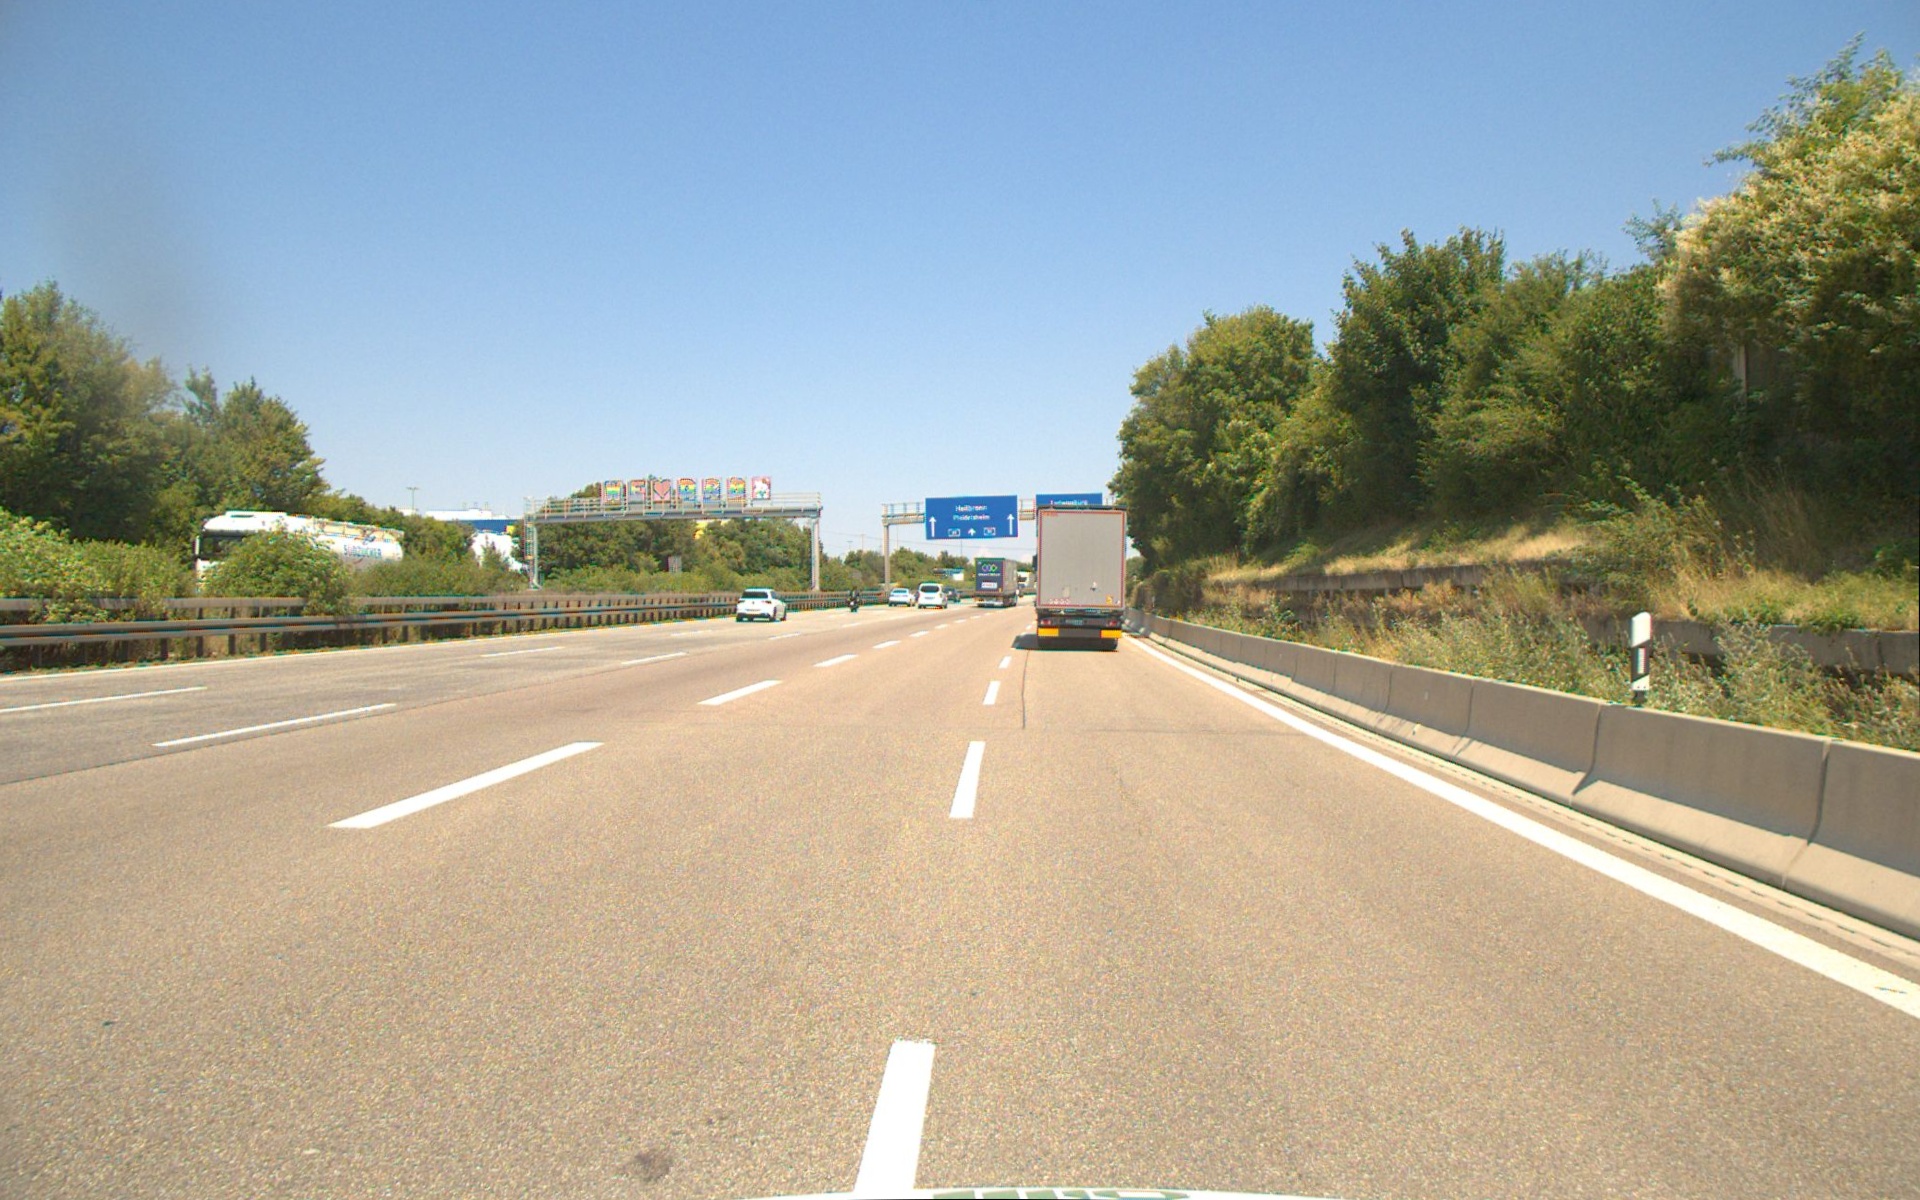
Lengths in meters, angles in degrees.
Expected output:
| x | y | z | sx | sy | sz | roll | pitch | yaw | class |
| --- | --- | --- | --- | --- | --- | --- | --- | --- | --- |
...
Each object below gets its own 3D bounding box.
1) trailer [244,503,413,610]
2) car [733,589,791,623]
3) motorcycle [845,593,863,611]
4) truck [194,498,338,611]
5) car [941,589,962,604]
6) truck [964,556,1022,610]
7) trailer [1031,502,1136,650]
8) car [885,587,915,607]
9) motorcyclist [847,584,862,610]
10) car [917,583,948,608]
| x | y | z | sx | sy | sz | roll | pitch | yaw | class |
| --- | --- | --- | --- | --- | --- | --- | --- | --- | --- |
| -25.320 | -1.699 | 66.980 | 2.634 | 3.956 | 9.738 | 1 | 1 | 3 | trailer |
| -8.936 | 0.270 | 74.969 | 1.744 | 1.466 | 4.671 | 1 | 0 | 4 | car |
| -6.693 | 0.113 | 104.643 | 0.894 | 1.108 | 2.849 | 0 | 0 | 0 | motorcycle |
| -25.624 | -1.639 | 61.367 | 2.639 | 3.956 | 5.748 | 1 | 1 | 3 | truck |
| -0.833 | -0.295 | 168.320 | 1.720 | 1.433 | 5.042 | 0 | -1 | 4 | car |
| 2.950 | -1.499 | 142.365 | 3.668 | 4.344 | 14.506 | 1 | 1 | 6 | truck |
| 3.732 | -0.784 | 51.778 | 2.867 | 4.085 | 12.044 | 0 | 1 | 3 | trailer |
| -4.833 | -0.232 | 134.417 | 1.837 | 1.466 | 5.128 | 1 | -1 | 5 | car |
| -6.690 | -0.167 | 104.608 | 0.875 | 1.625 | 1.299 | 0 | -1 | 0 | motorcyclist |
| -2.051 | -0.335 | 126.221 | 1.890 | 1.884 | 4.695 | 0 | 0 | 5 | car |
